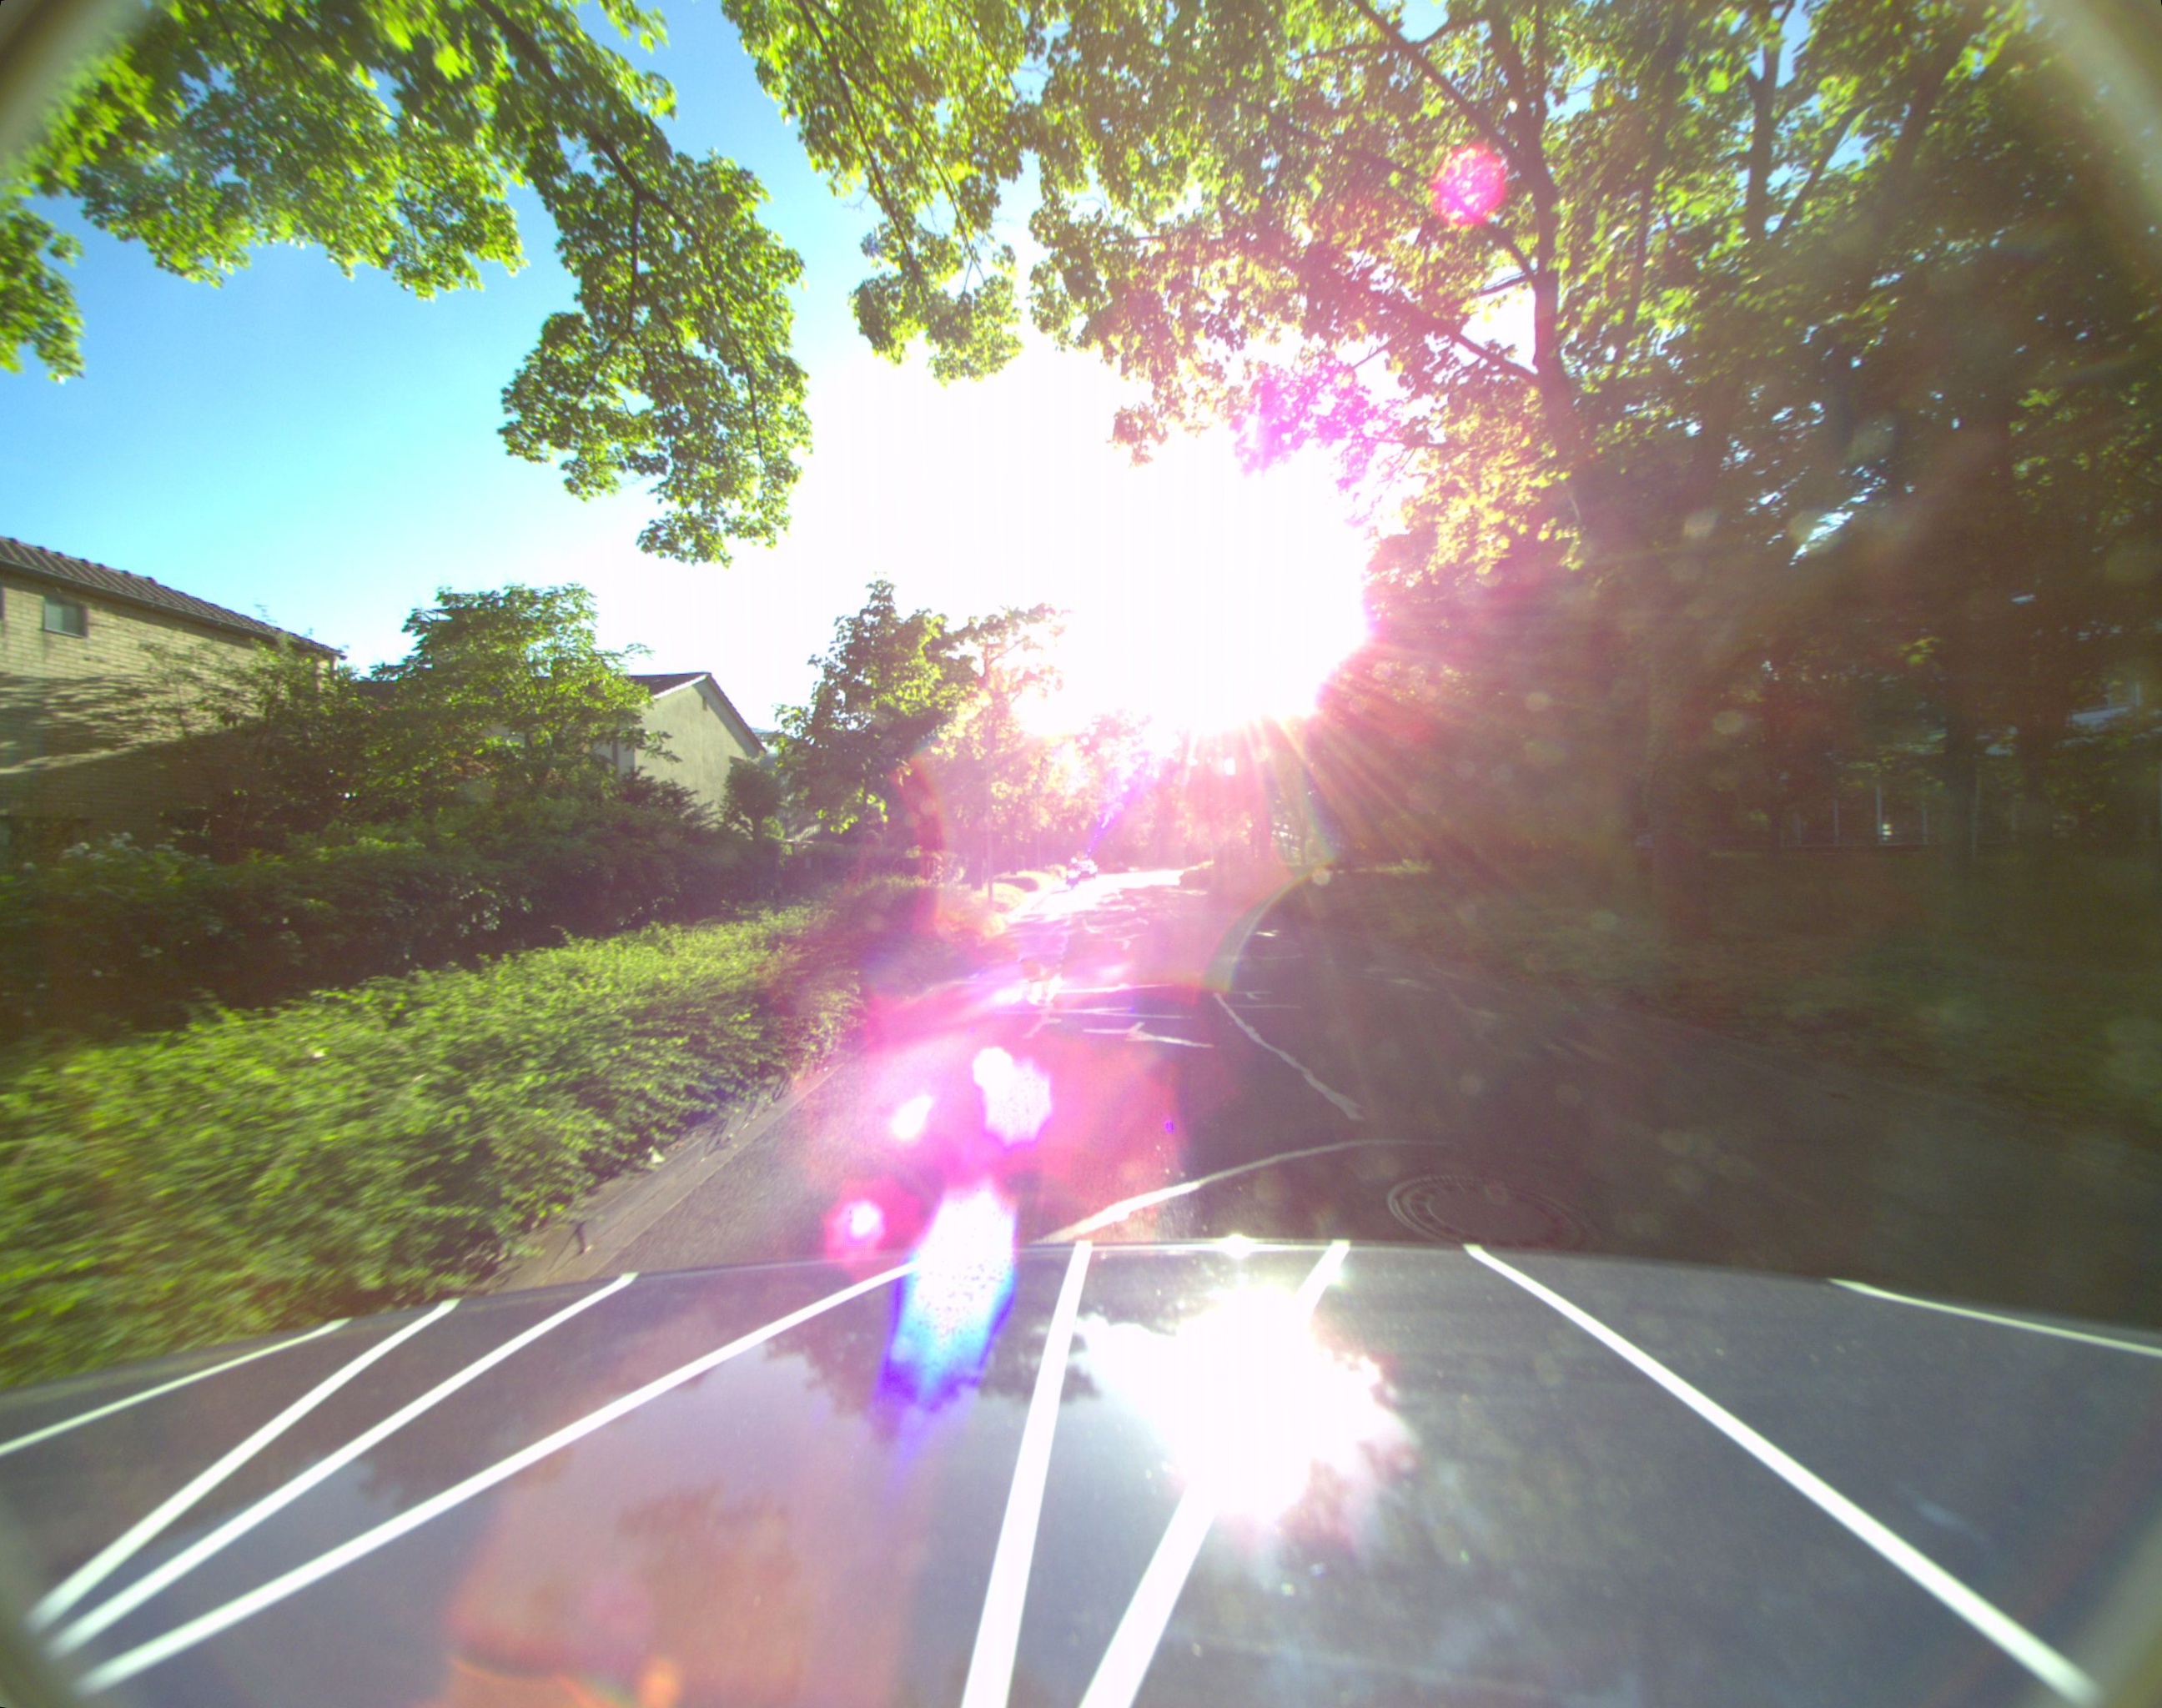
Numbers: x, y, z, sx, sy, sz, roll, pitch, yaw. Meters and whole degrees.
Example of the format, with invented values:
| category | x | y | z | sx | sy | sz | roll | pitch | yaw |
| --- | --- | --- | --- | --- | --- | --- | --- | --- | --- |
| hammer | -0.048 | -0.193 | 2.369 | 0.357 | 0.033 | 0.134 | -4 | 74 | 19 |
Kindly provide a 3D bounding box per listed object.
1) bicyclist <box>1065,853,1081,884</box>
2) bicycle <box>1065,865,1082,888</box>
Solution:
| category | x | y | z | sx | sy | sz | roll | pitch | yaw |
| --- | --- | --- | --- | --- | --- | --- | --- | --- | --- |
| bicyclist | -0.433 | 0.795 | 41.605 | 0.819 | 1.635 | 0.744 | -3 | 0 | 0 |
| bicycle | -0.412 | 1.224 | 41.715 | 0.829 | 1.182 | 2.302 | -3 | 0 | -1 |
